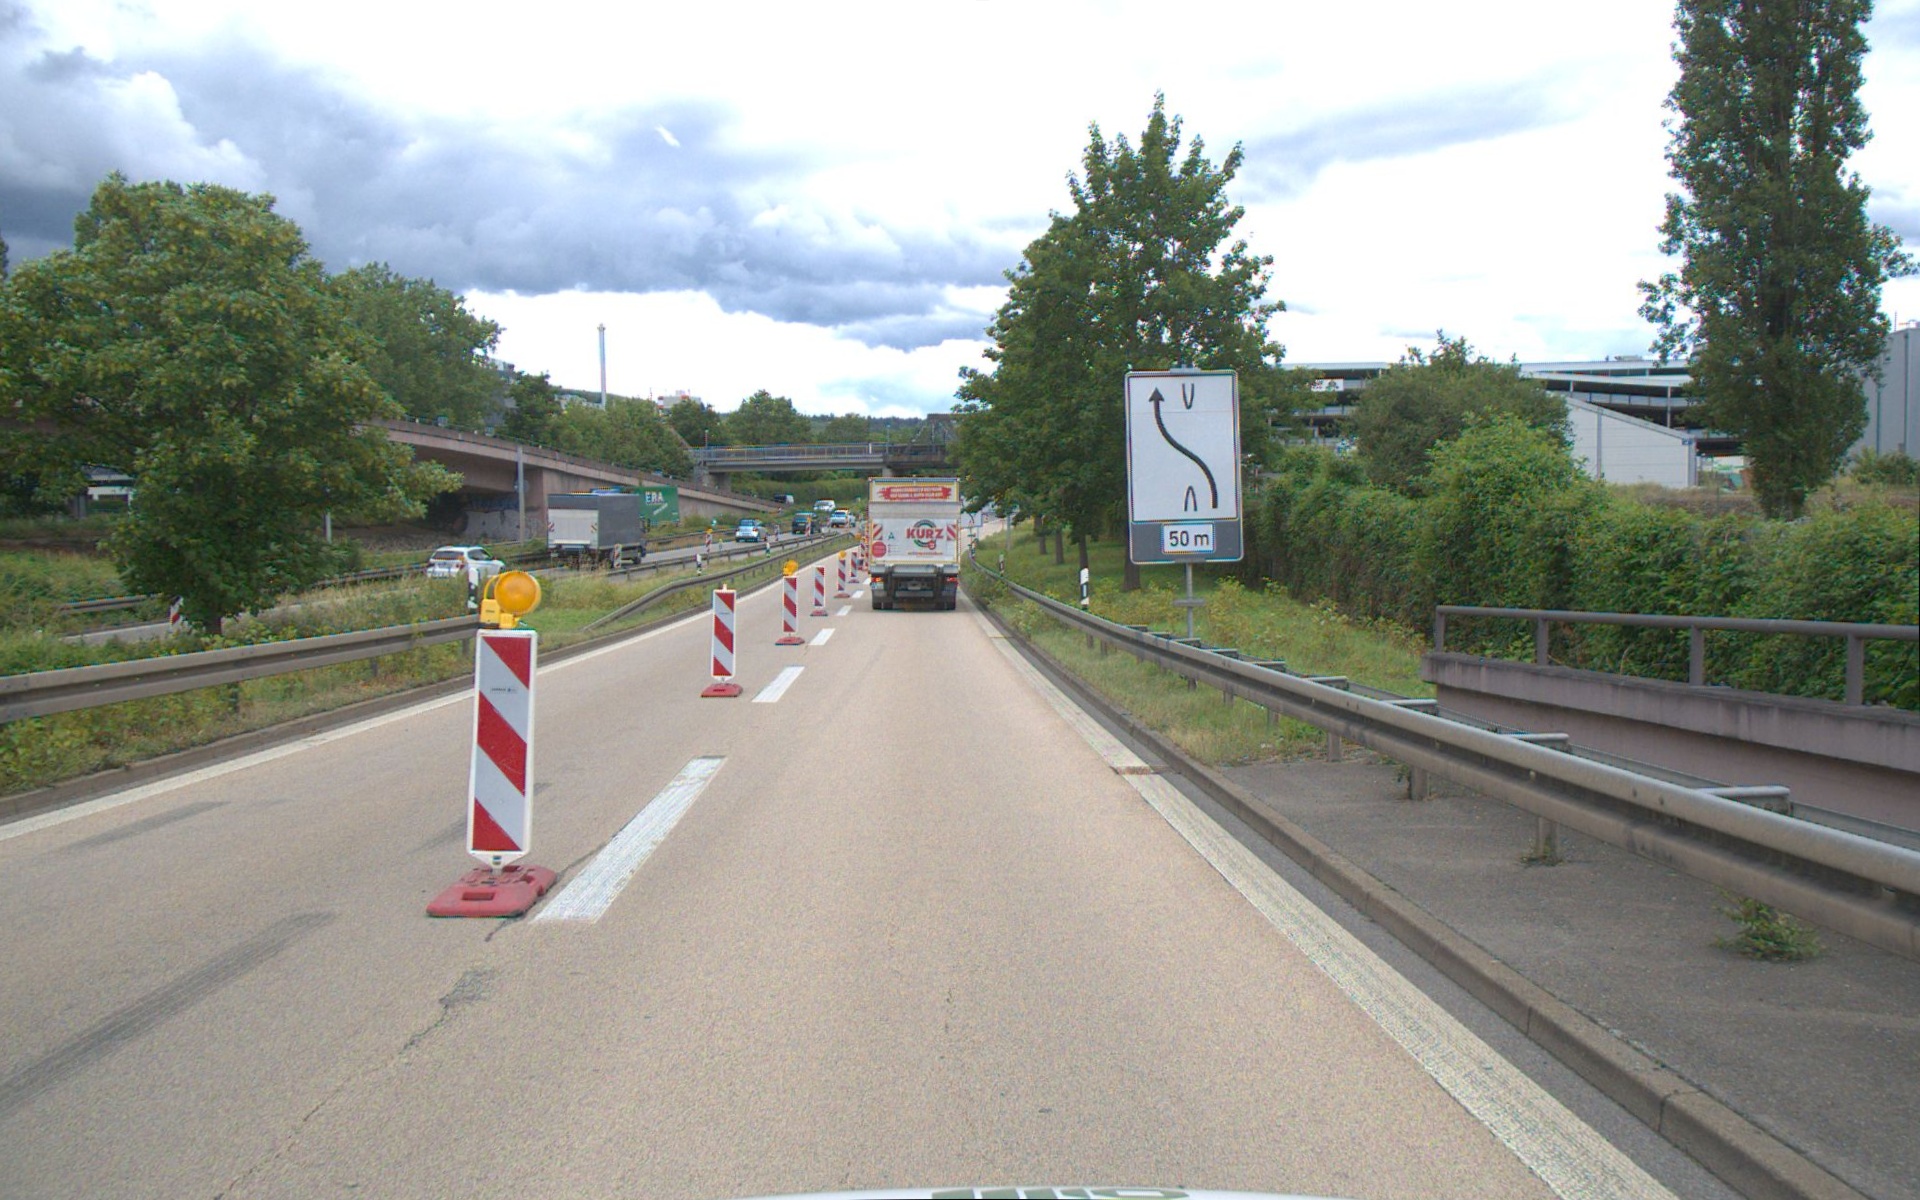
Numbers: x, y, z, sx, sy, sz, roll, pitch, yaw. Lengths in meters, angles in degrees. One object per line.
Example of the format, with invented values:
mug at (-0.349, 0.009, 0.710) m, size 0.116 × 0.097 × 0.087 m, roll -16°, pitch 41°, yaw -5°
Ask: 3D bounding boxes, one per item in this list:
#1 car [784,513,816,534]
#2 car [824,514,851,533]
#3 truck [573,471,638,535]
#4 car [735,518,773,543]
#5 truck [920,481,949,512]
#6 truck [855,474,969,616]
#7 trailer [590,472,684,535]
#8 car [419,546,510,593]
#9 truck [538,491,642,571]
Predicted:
car at (-12.885, -6.153, 133.097) m, size 1.952 × 1.645 × 4.003 m, roll 0°, pitch 3°, yaw 3°
car at (-11.007, -6.857, 148.723) m, size 1.952 × 1.645 × 4.003 m, roll 0°, pitch 3°, yaw 3°
truck at (-24.569, -6.712, 114.912) m, size 2.694 × 4.345 × 5.509 m, roll 0°, pitch 3°, yaw 7°
car at (-14.487, -4.890, 116.238) m, size 1.952 × 1.645 × 4.003 m, roll 0°, pitch 3°, yaw 3°
truck at (-3.295, -13.348, 214.657) m, size 3.218 × 3.918 × 7.670 m, roll 0°, pitch 3°, yaw 3°
truck at (-1.358, -1.601, 47.661) m, size 2.989 × 3.736 × 7.927 m, roll 0°, pitch 2°, yaw -1°
trailer at (-23.710, -7.105, 122.303) m, size 2.712 × 4.367 × 13.994 m, roll 0°, pitch 3°, yaw 6°
car at (-19.868, -1.248, 66.471) m, size 1.951 × 1.742 × 4.106 m, roll 0°, pitch 3°, yaw 7°
truck at (-18.136, -3.451, 81.672) m, size 2.987 × 3.719 × 7.402 m, roll 0°, pitch 3°, yaw 4°
